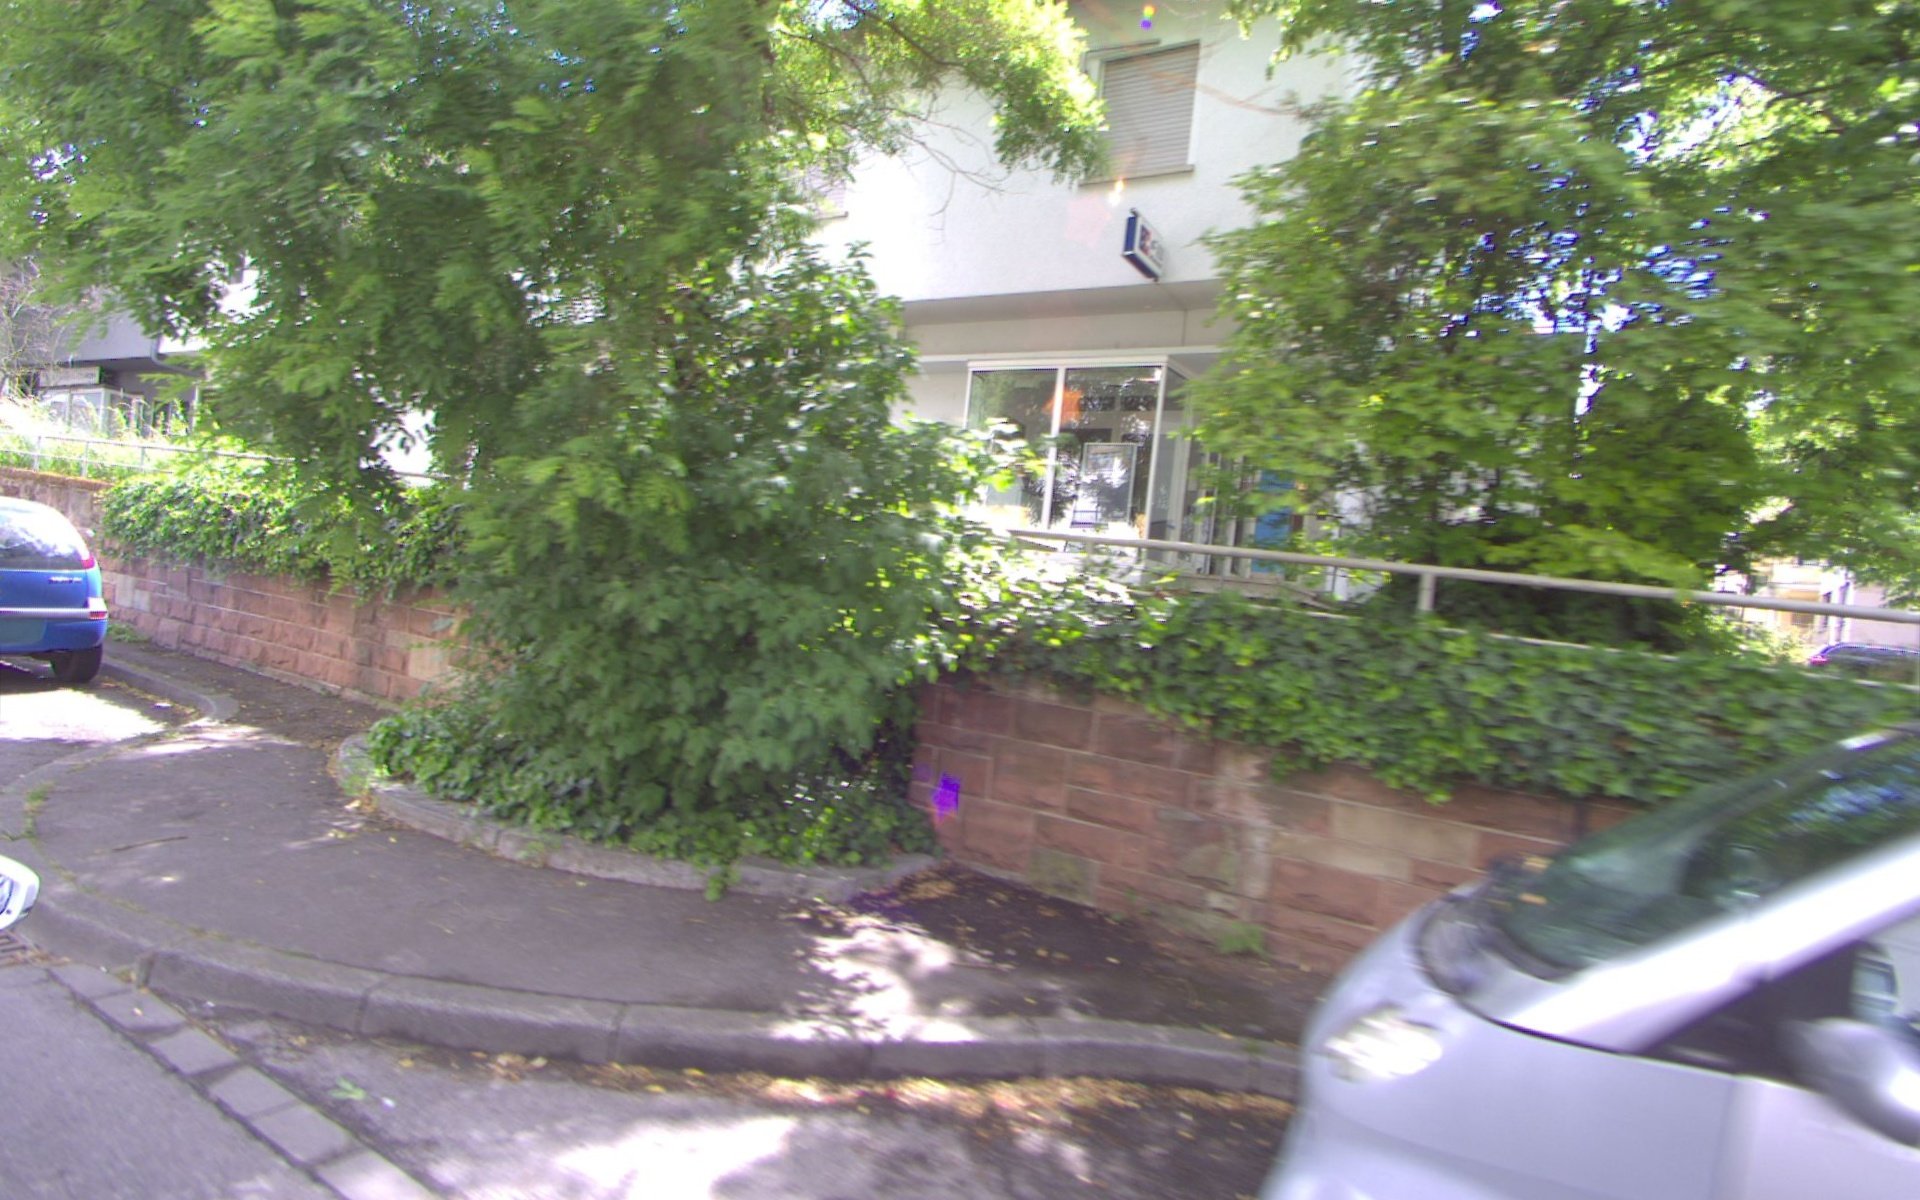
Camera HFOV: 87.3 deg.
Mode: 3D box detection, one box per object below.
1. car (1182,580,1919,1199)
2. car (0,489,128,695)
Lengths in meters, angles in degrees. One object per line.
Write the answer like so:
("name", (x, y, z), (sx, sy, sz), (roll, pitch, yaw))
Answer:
("car", (1.985, 0.917, 1.660), (2.799, 1.554, 1.514), (7, 1, 31))
("car", (-8.525, -0.230, 8.086), (3.613, 1.475, 1.609), (7, 1, 30))
